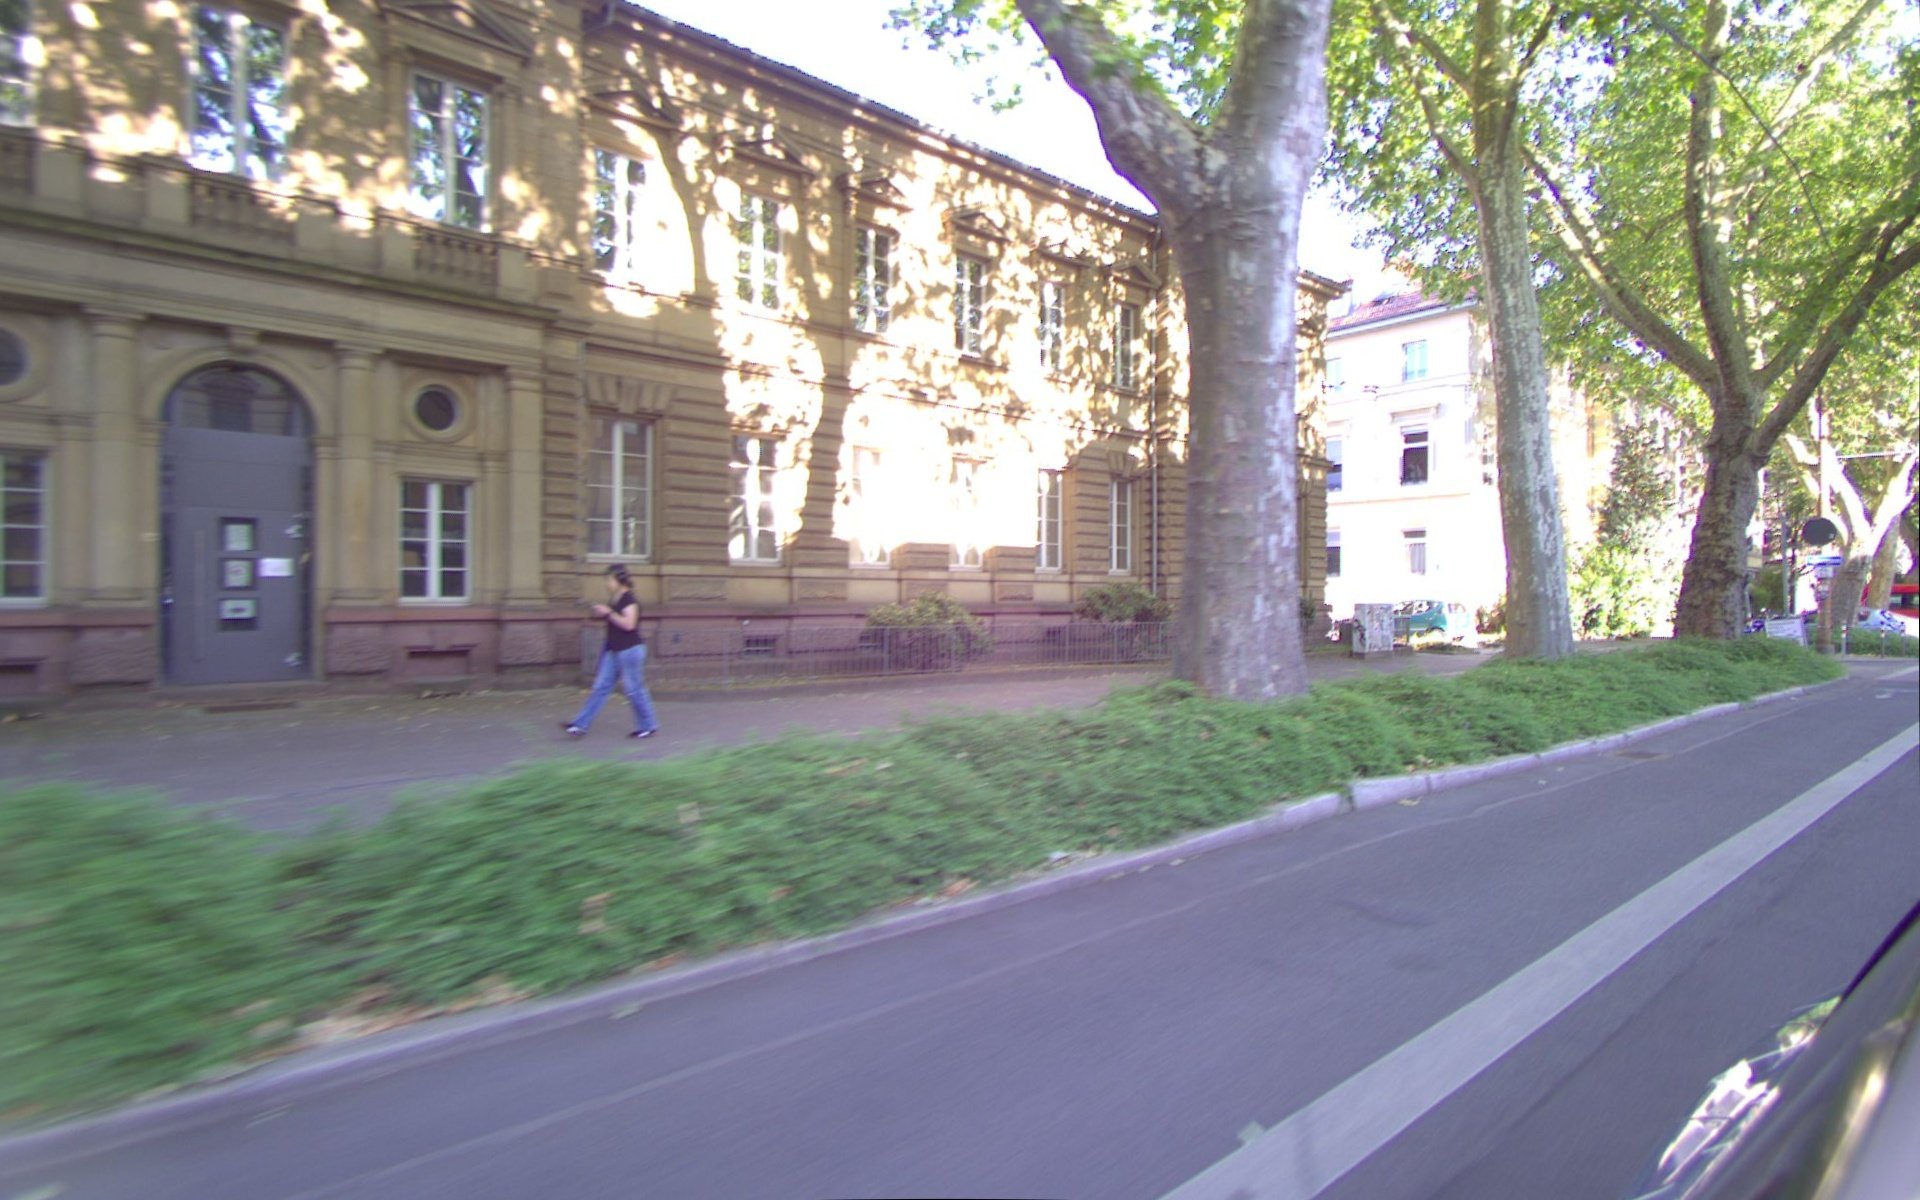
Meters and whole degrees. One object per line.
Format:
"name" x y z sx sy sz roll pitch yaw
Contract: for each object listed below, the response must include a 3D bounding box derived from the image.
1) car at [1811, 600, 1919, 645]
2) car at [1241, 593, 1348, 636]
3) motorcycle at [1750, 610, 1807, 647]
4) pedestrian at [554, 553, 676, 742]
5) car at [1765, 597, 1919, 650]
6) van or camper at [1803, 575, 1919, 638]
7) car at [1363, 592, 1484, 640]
"car" 33.293 0.784 36.608 1.588 1.435 3.674 -3 3 -41
"car" 13.270 0.535 40.275 1.707 1.562 3.703 -3 3 -41
"motorcycle" 24.333 0.839 30.091 1.252 1.067 0.394 1 0 12
"pedestrian" -3.400 0.437 9.973 0.988 1.758 0.652 0 0 -36
"car" 29.217 0.728 33.599 1.588 1.562 3.674 -3 3 -41
"van or camper" 39.688 0.246 42.851 2.185 2.528 5.919 -3 3 -43
"car" 16.507 0.523 36.143 1.707 1.562 3.568 -3 3 -41
